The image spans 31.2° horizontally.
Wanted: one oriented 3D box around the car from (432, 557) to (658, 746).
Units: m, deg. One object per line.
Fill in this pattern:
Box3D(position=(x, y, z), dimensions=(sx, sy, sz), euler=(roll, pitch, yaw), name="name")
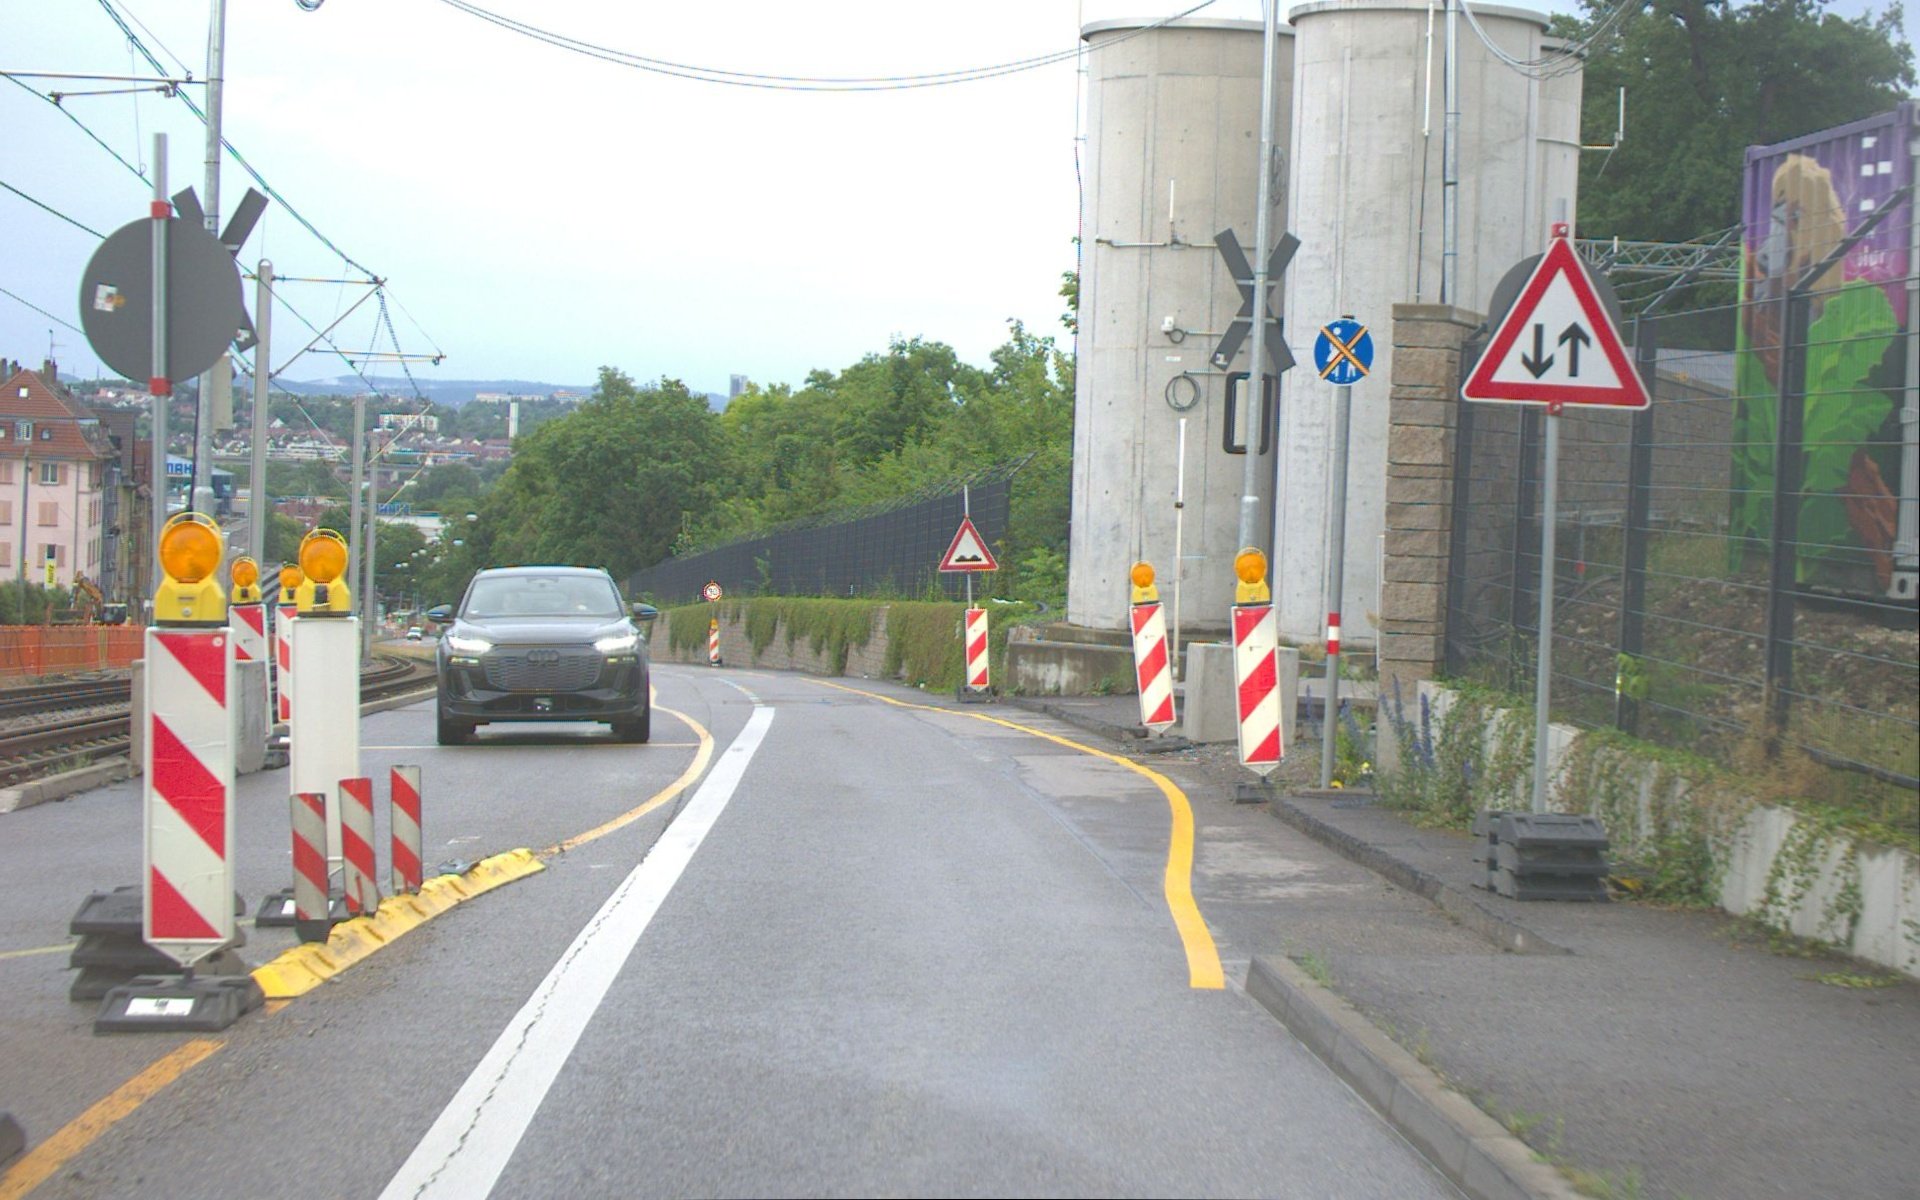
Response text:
Box3D(position=(-3.997, 0.448, 32.998), dimensions=(1.993, 1.672, 4.489), euler=(1, 0, -7), name="car")
